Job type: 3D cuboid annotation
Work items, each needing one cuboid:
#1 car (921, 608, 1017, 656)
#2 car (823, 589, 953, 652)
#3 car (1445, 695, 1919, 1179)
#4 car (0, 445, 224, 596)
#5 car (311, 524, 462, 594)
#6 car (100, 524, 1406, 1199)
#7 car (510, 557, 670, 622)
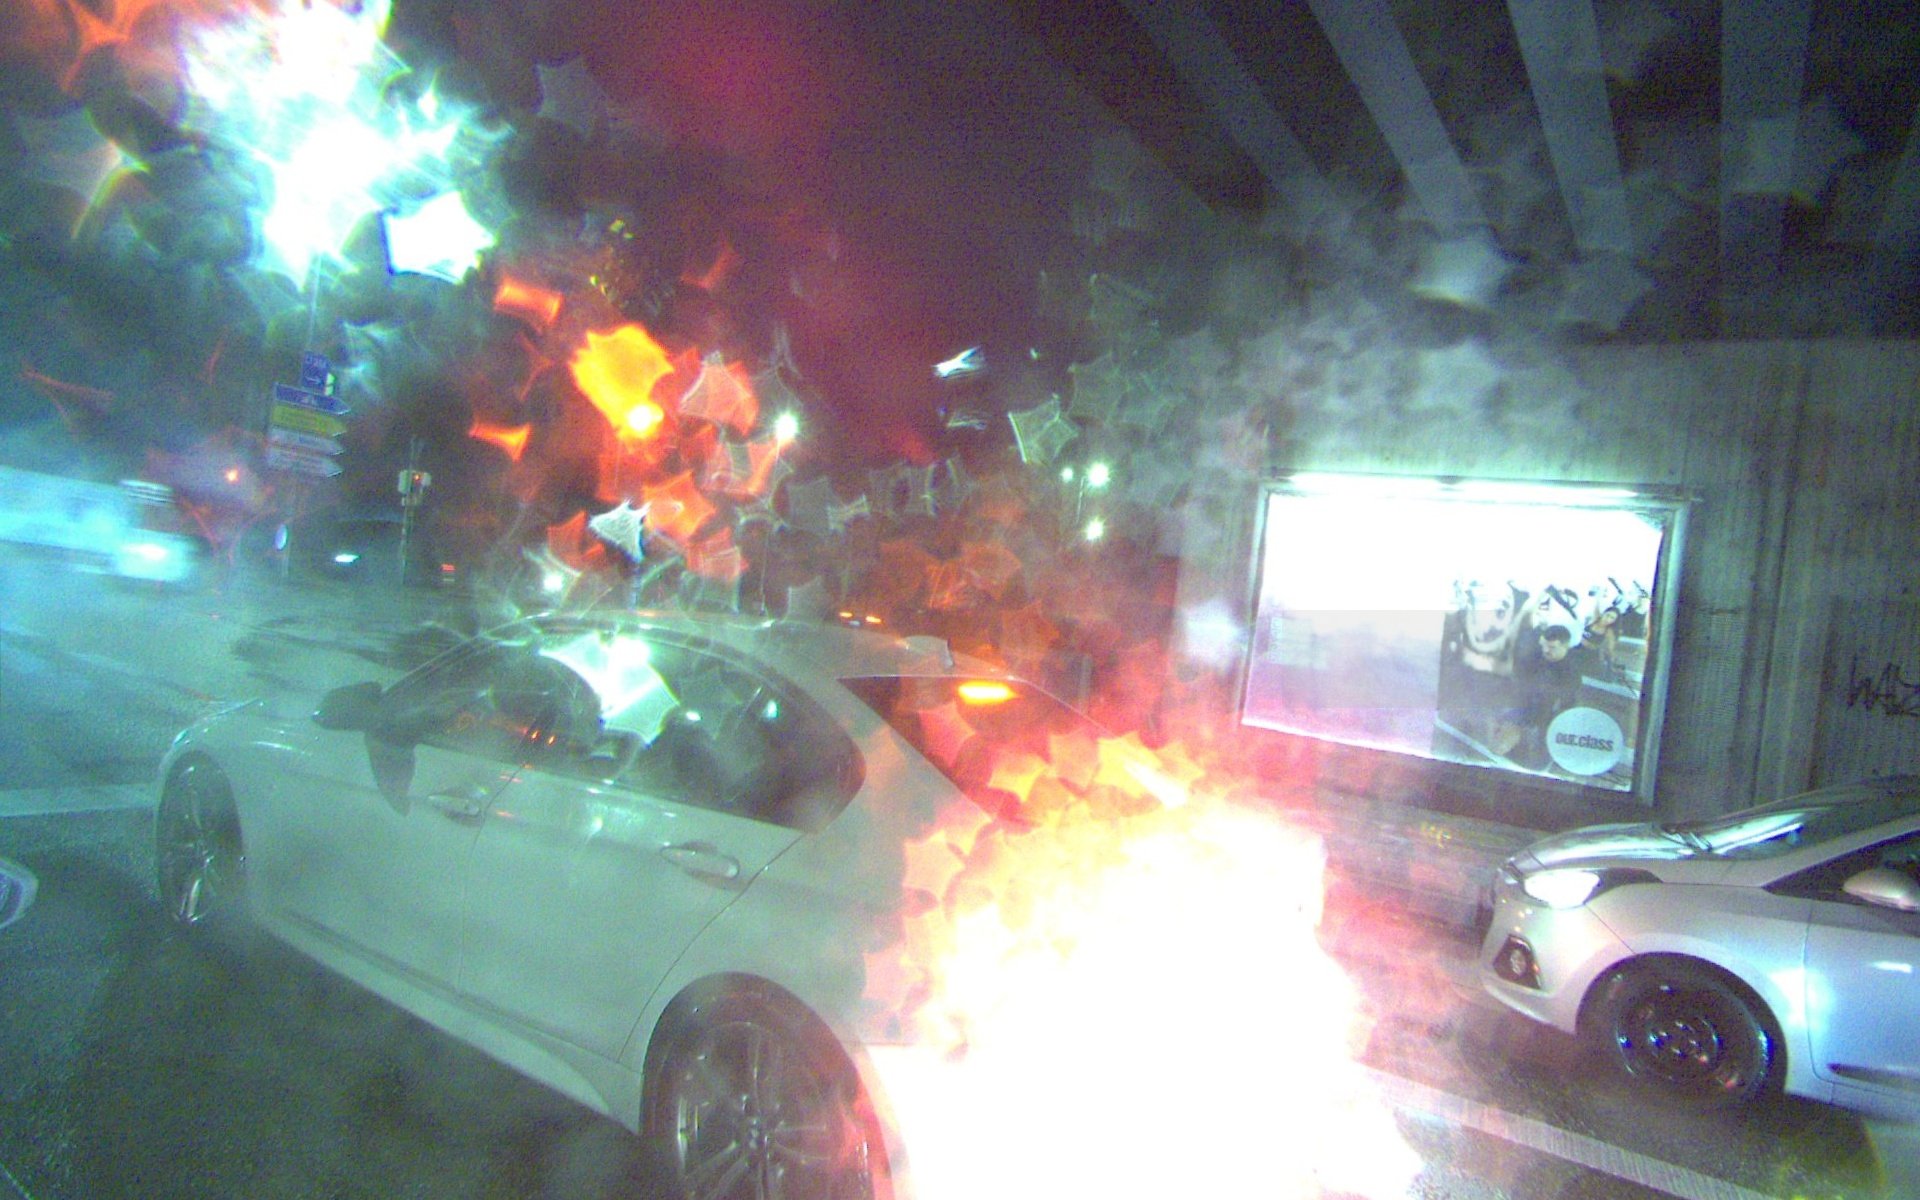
[{"bbox_3d":[0.456,1.477,45.217,1.879,1.637,4.501,6,-2,37],"label":"car"},{"bbox_3d":[-2.467,0.762,35.429,1.931,1.692,4.400,6,-2,39],"label":"car"},{"bbox_3d":[4.338,1.414,4.016,4.092,1.465,1.722,6,0,31],"label":"car"},{"bbox_3d":[-14.854,-1.330,16.930,1.680,2.037,3.554,6,-2,40],"label":"car"},{"bbox_3d":[-19.656,-1.391,34.577,1.882,1.801,3.983,6,-2,41],"label":"car"},{"bbox_3d":[-0.958,0.687,3.494,4.309,1.465,1.722,6,0,31],"label":"car"},{"bbox_3d":[-12.716,-0.308,34.829,1.826,1.609,4.850,6,-2,38],"label":"car"}]
